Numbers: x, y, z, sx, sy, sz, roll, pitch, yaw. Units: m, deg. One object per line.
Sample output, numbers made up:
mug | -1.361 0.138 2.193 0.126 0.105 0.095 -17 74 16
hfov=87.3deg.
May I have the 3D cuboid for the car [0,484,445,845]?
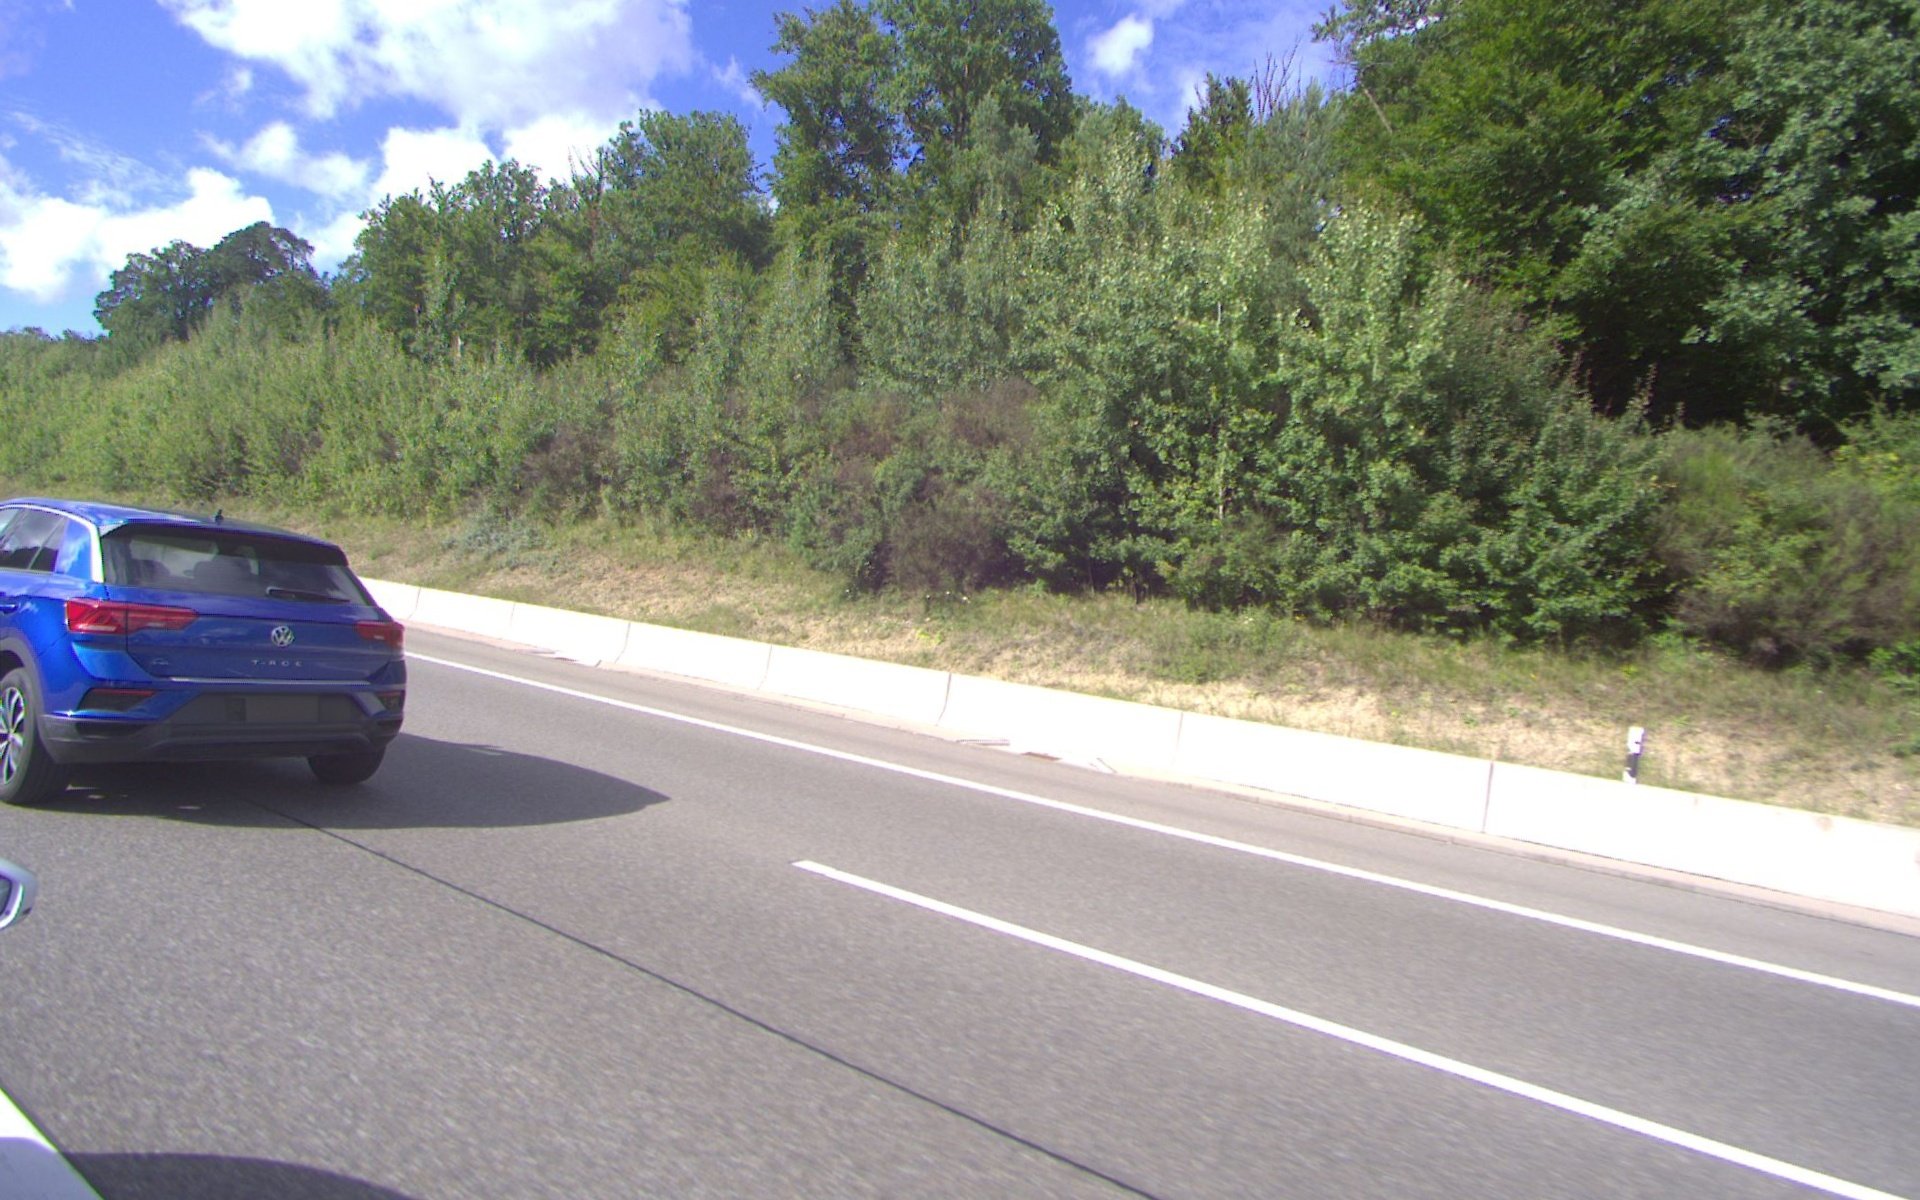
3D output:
car | -5.394 0.135 6.289 4.384 1.549 1.775 7 0 32
